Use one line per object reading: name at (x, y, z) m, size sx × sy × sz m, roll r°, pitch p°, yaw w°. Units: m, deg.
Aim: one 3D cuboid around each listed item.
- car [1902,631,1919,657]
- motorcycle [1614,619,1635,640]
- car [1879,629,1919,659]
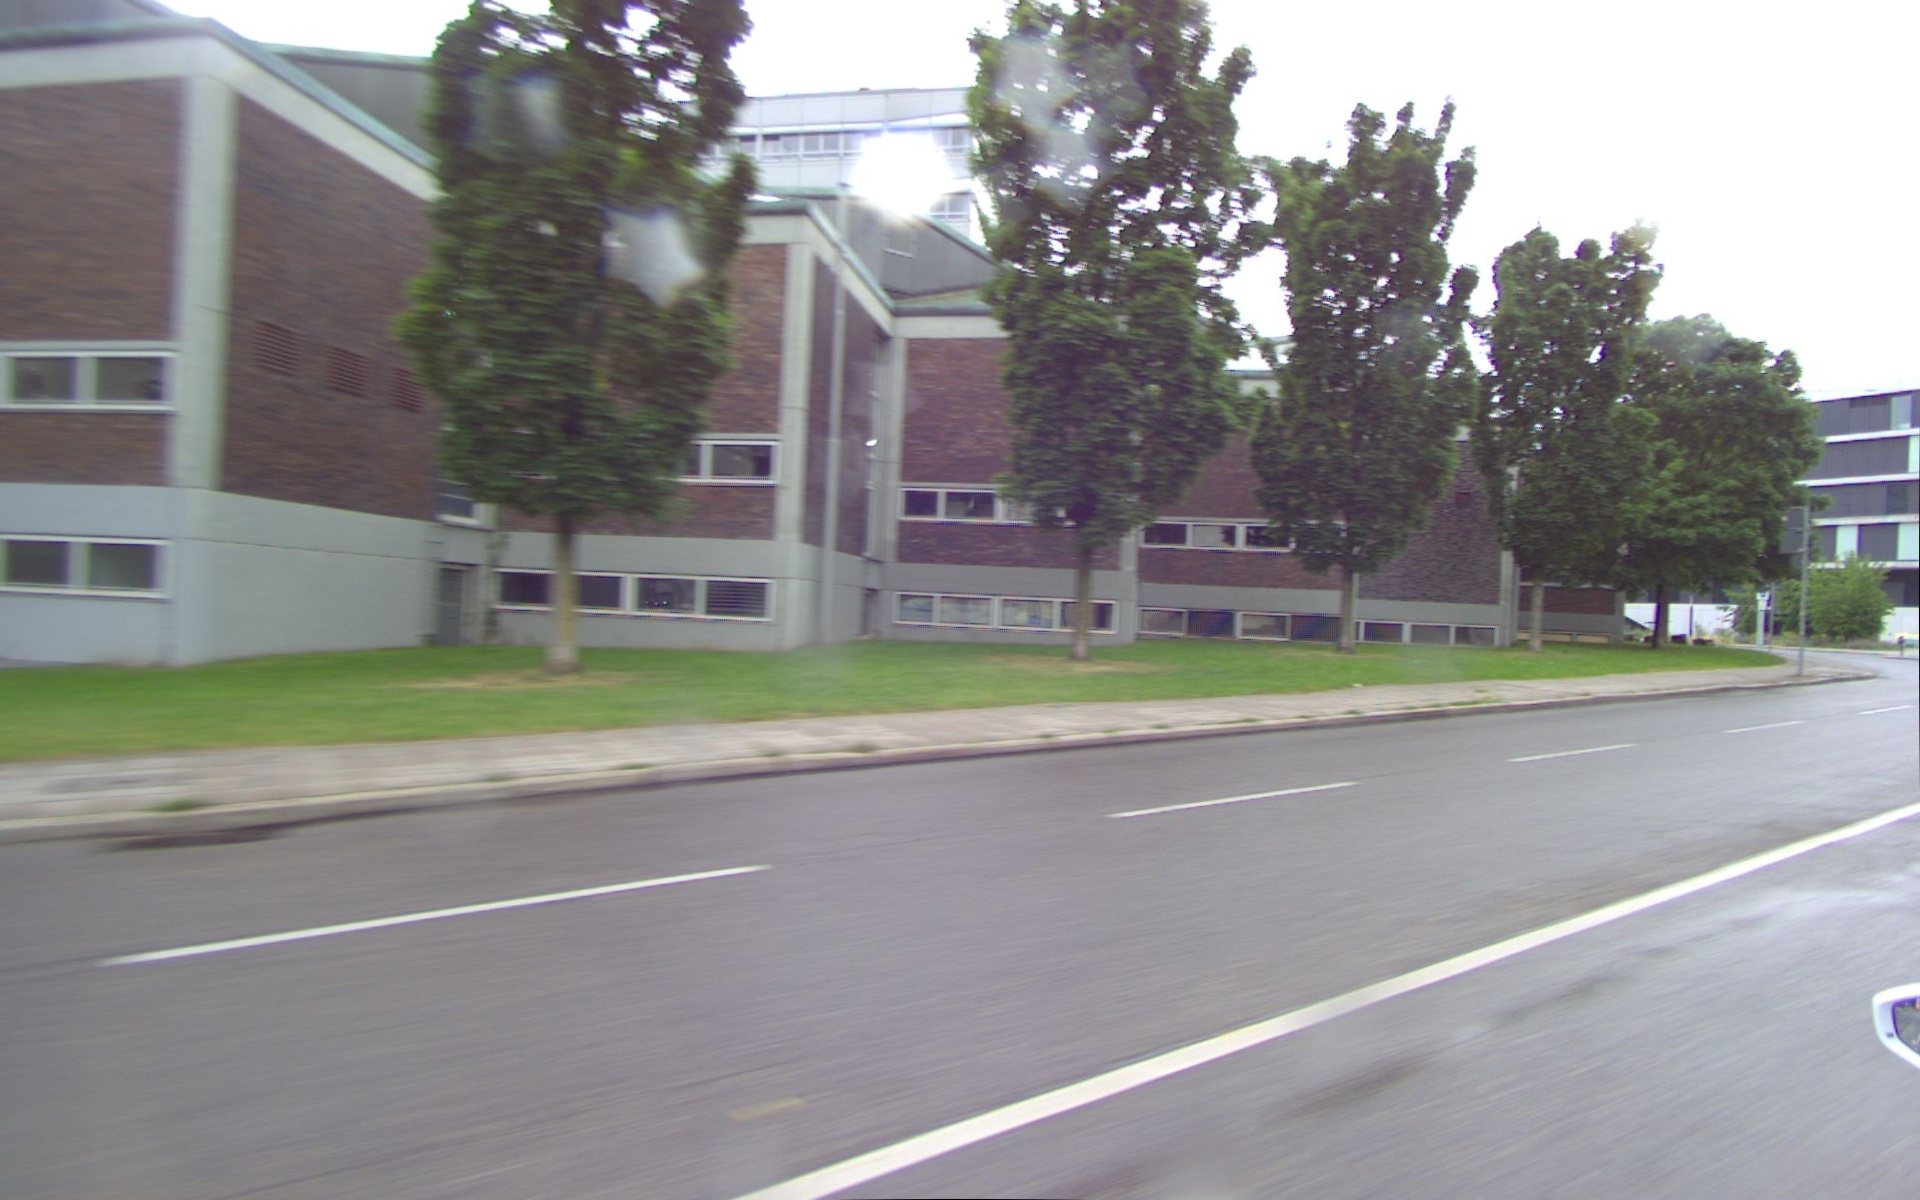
car at (80.131, 3.675, 82.042) m, size 1.582 × 2.059 × 4.315 m, roll 2°, pitch 1°, yaw -33°
motorcycle at (36.230, 1.620, 54.805) m, size 0.405 × 1.140 × 1.171 m, roll 2°, pitch -1°, yaw 4°
car at (76.586, 3.559, 80.095) m, size 1.915 × 2.203 × 4.552 m, roll 2°, pitch 1°, yaw -39°
